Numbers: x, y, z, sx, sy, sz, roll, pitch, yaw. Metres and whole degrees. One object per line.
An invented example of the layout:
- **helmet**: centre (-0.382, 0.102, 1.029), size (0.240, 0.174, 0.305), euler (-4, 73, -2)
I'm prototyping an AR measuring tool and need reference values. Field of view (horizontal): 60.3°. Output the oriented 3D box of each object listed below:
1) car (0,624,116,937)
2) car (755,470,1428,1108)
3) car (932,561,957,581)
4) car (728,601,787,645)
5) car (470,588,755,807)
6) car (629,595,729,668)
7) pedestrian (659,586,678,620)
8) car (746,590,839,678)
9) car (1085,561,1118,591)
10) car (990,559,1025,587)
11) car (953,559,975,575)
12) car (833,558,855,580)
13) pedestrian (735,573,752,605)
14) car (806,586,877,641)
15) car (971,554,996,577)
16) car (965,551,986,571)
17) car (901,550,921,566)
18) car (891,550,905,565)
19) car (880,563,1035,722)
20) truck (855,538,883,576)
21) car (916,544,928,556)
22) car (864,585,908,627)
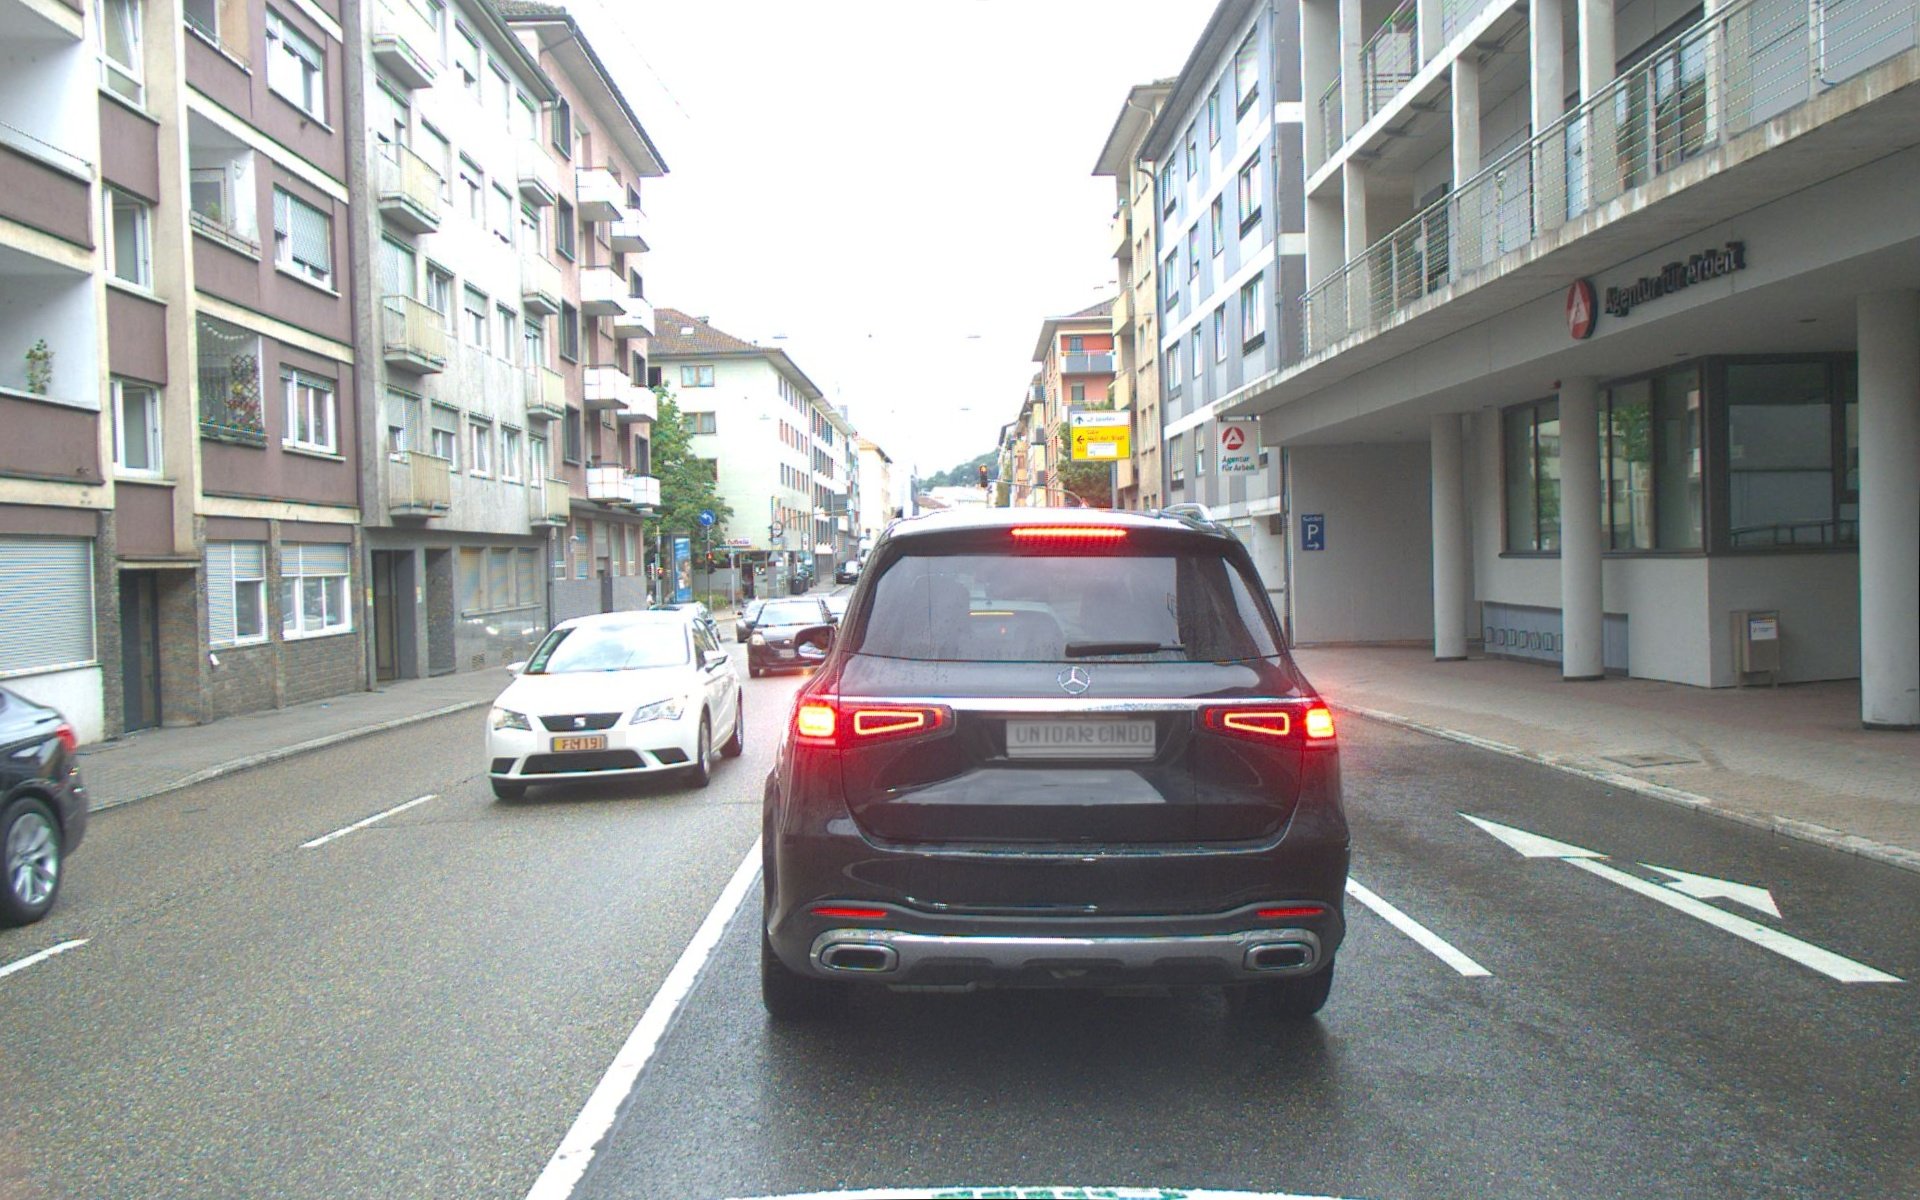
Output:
- **car**: centre (-5.665, 0.986, 7.229), size (1.661, 1.566, 4.434), euler (-6, 0, -2)
- **car**: centre (0.358, 0.564, 7.027), size (1.944, 1.836, 4.389), euler (1, 0, -1)
- **car**: centre (-1.293, -2.376, 137.223), size (1.953, 1.514, 3.999), euler (-2, 0, -1)
- **car**: centre (-7.243, 0.802, 59.358), size (1.661, 1.394, 4.364), euler (-4, 0, -2)
- **car**: centre (-2.903, 0.752, 14.652), size (1.709, 1.566, 4.051), euler (-3, 0, -2)
- **car**: centre (-6.569, 0.696, 39.080), size (1.689, 1.498, 4.372), euler (-4, 1, -2)
- **pedestrian**: centre (-15.854, 0.172, 89.900), size (0.756, 1.795, 0.636), euler (-2, 0, 31)
- **car**: centre (-3.337, 0.654, 33.464), size (1.586, 1.566, 4.215), euler (-3, 0, -3)
- **car**: centre (8.102, -1.355, 94.762), size (1.636, 1.616, 3.331), euler (-2, 1, 1)
- **car**: centre (2.652, -1.507, 93.396), size (1.586, 1.411, 4.215), euler (-3, 0, -3)
- **car**: centre (0.411, -3.276, 163.112), size (1.848, 1.396, 4.215), euler (-3, 0, -3)
- **car**: centre (-9.200, -2.466, 131.498), size (1.586, 1.566, 4.215), euler (-3, 0, -3)
- **pedestrian**: centre (-13.312, -0.699, 101.772), size (0.904, 1.935, 0.706), euler (-2, 0, -3)
- **car**: centre (-3.341, 0.396, 47.342), size (1.660, 1.394, 4.217), euler (-4, -1, 0)
- **car**: centre (1.817, -2.690, 128.722), size (1.586, 1.566, 4.215), euler (-3, 0, -3)
- **car**: centre (1.361, -3.439, 146.249), size (1.586, 1.566, 4.215), euler (-3, 0, -3)
- **car**: centre (-4.710, -4.018, 158.713), size (1.848, 1.286, 4.215), euler (-3, 0, -3)
- **car**: centre (-7.269, -4.924, 193.613), size (1.586, 1.566, 4.215), euler (-3, 0, -3)
- **car**: centre (-0.128, 0.487, 20.834), size (1.716, 1.762, 4.215), euler (-1, 0, -3)
- **truck**: centre (-8.589, -4.033, 156.950), size (2.430, 3.099, 9.914), euler (-3, 0, -3)
- **car**: centre (-5.806, -7.556, 250.143), size (1.586, 1.566, 4.215), euler (-3, 0, -3)
- **car**: centre (-3.054, 0.261, 68.769), size (1.661, 1.608, 4.216), euler (-4, -1, -2)
